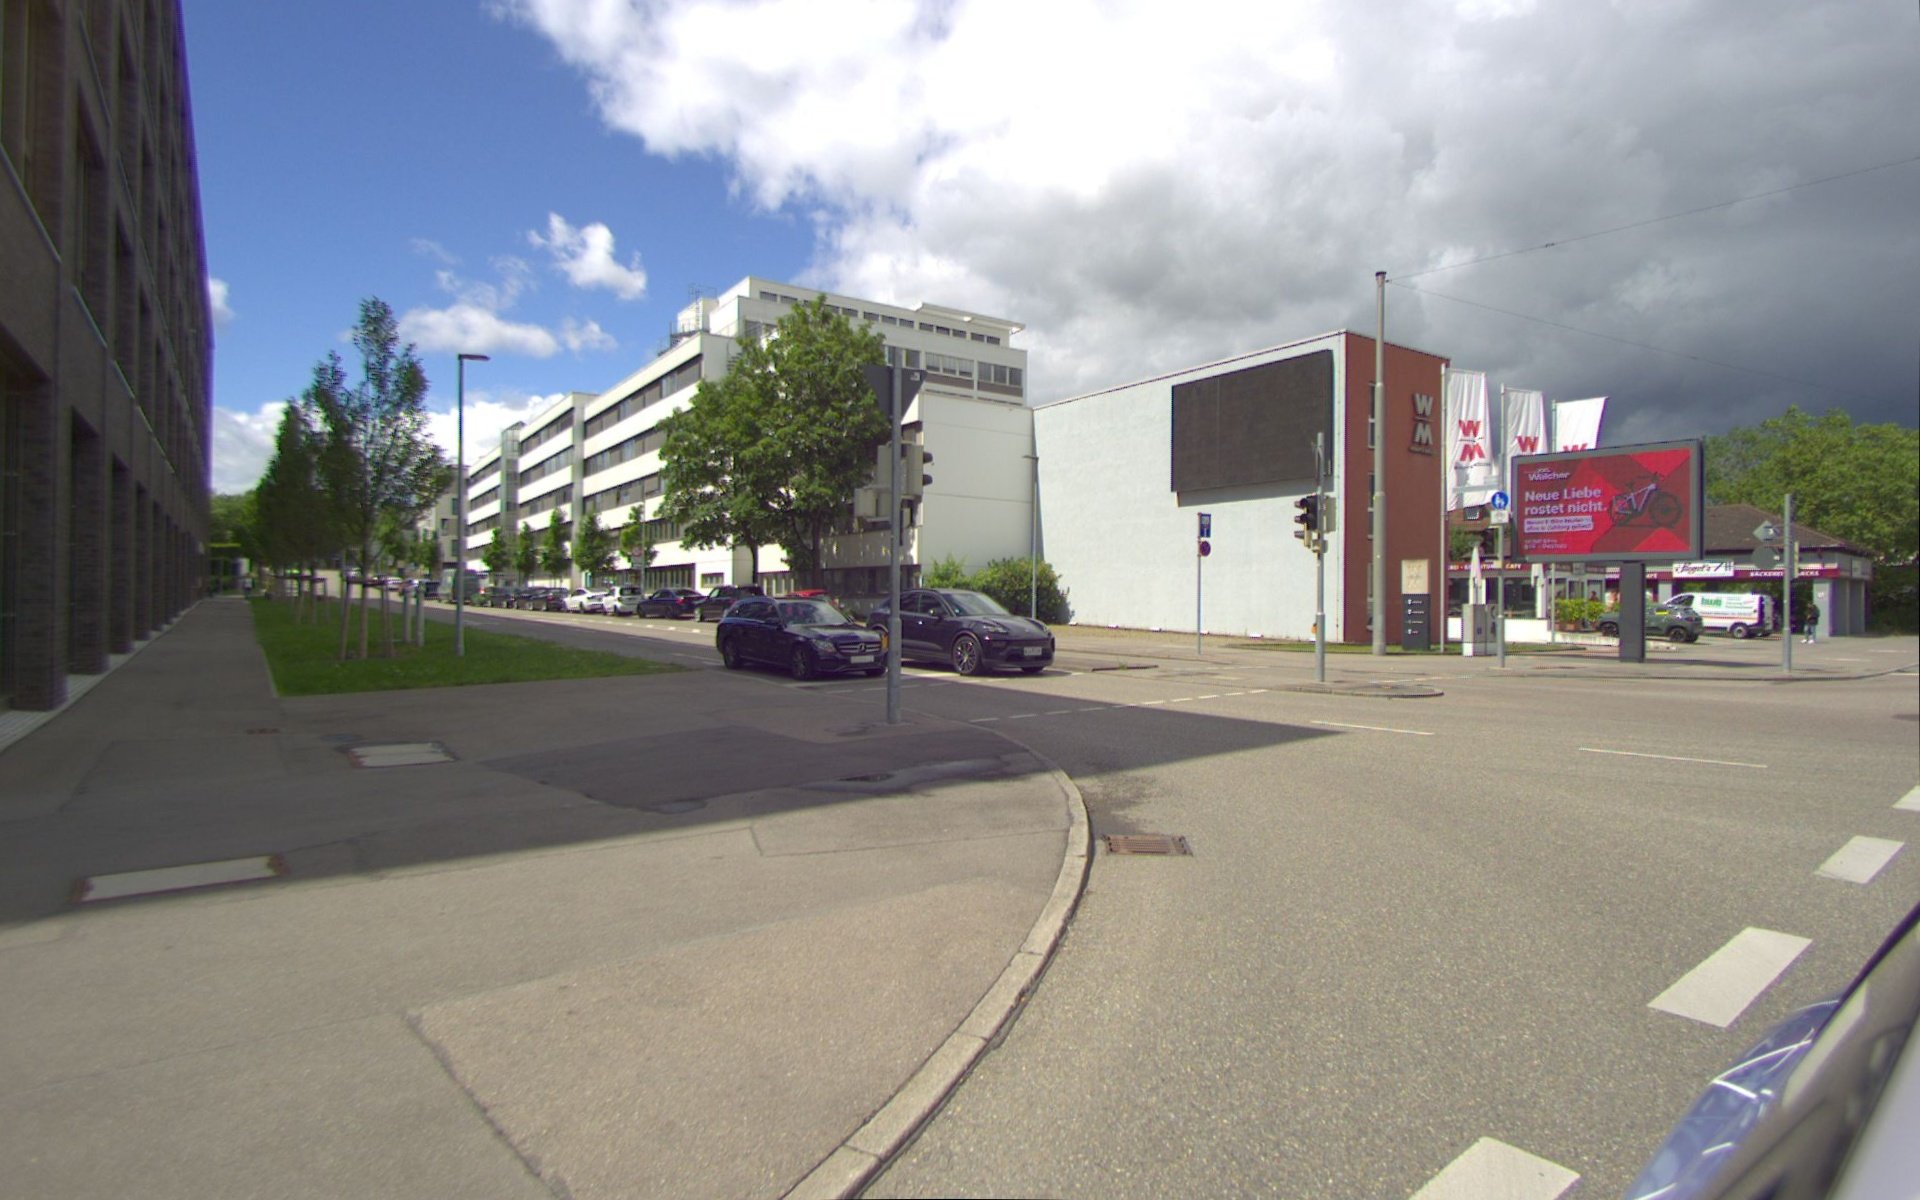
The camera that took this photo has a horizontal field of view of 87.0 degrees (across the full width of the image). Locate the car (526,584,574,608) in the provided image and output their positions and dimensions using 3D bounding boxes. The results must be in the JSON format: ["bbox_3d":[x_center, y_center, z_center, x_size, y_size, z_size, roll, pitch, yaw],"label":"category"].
[{"bbox_3d":[-24.210,-0.225,59.739,1.472,1.357,3.529,0,-1,-43],"label":"car"}]

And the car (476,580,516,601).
[{"bbox_3d":[-32.040,-0.635,69.883,1.472,1.357,3.529,0,-1,-43],"label":"car"}]

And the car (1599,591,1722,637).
[{"bbox_3d":[28.252,0.527,40.923,1.729,1.503,3.679,0,5,-37],"label":"car"}]

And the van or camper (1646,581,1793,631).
[{"bbox_3d":[34.436,0.206,46.023,2.172,1.981,4.911,-1,3,-39],"label":"van or camper"}]

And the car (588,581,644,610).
[{"bbox_3d":[-18.238,-0.203,53.530,1.472,1.480,3.529,0,-1,-43],"label":"car"}]

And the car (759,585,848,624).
[{"bbox_3d":[-6.315,0.138,40.727,1.718,1.480,3.670,0,1,-45],"label":"car"}]

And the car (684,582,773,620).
[{"bbox_3d":[-10.231,-0.005,44.605,1.841,1.589,4.301,0,1,-45],"label":"car"}]

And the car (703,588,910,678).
[{"bbox_3d":[-3.099,0.541,19.654,1.964,1.511,4.534,-1,1,-39],"label":"car"}]

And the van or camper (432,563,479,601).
[{"bbox_3d":[-38.119,-1.360,76.438,1.965,2.772,5.116,0,0,-41],"label":"van or camper"}]

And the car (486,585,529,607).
[{"bbox_3d":[-29.427,-0.247,65.759,1.472,1.357,3.529,0,-1,-43],"label":"car"}]

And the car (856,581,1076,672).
[{"bbox_3d":[0.001,0.445,20.621,1.965,1.639,4.649,0,0,-40],"label":"car"}]

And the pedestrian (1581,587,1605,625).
[{"bbox_3d":[29.392,0.274,46.965,0.558,1.729,0.752,1,0,-12],"label":"pedestrian"}]

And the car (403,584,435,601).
[{"bbox_3d":[-45.067,-0.635,84.232,1.472,1.356,3.529,0,1,-43],"label":"car"}]

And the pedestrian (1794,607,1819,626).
[{"bbox_3d":[57.076,1.134,68.276,0.945,1.264,0.888,0,-1,-11],"label":"pedestrian"}]

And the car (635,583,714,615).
[{"bbox_3d":[-13.926,-0.088,49.205,1.841,1.480,4.301,-1,1,-45],"label":"car"}]

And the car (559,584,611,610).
[{"bbox_3d":[-20.906,-0.150,56.328,1.472,1.357,3.529,0,-1,-43],"label":"car"}]

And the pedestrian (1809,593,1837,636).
[{"bbox_3d":[35.512,0.593,41.649,0.726,1.728,0.714,0,1,-39],"label":"pedestrian"}]
